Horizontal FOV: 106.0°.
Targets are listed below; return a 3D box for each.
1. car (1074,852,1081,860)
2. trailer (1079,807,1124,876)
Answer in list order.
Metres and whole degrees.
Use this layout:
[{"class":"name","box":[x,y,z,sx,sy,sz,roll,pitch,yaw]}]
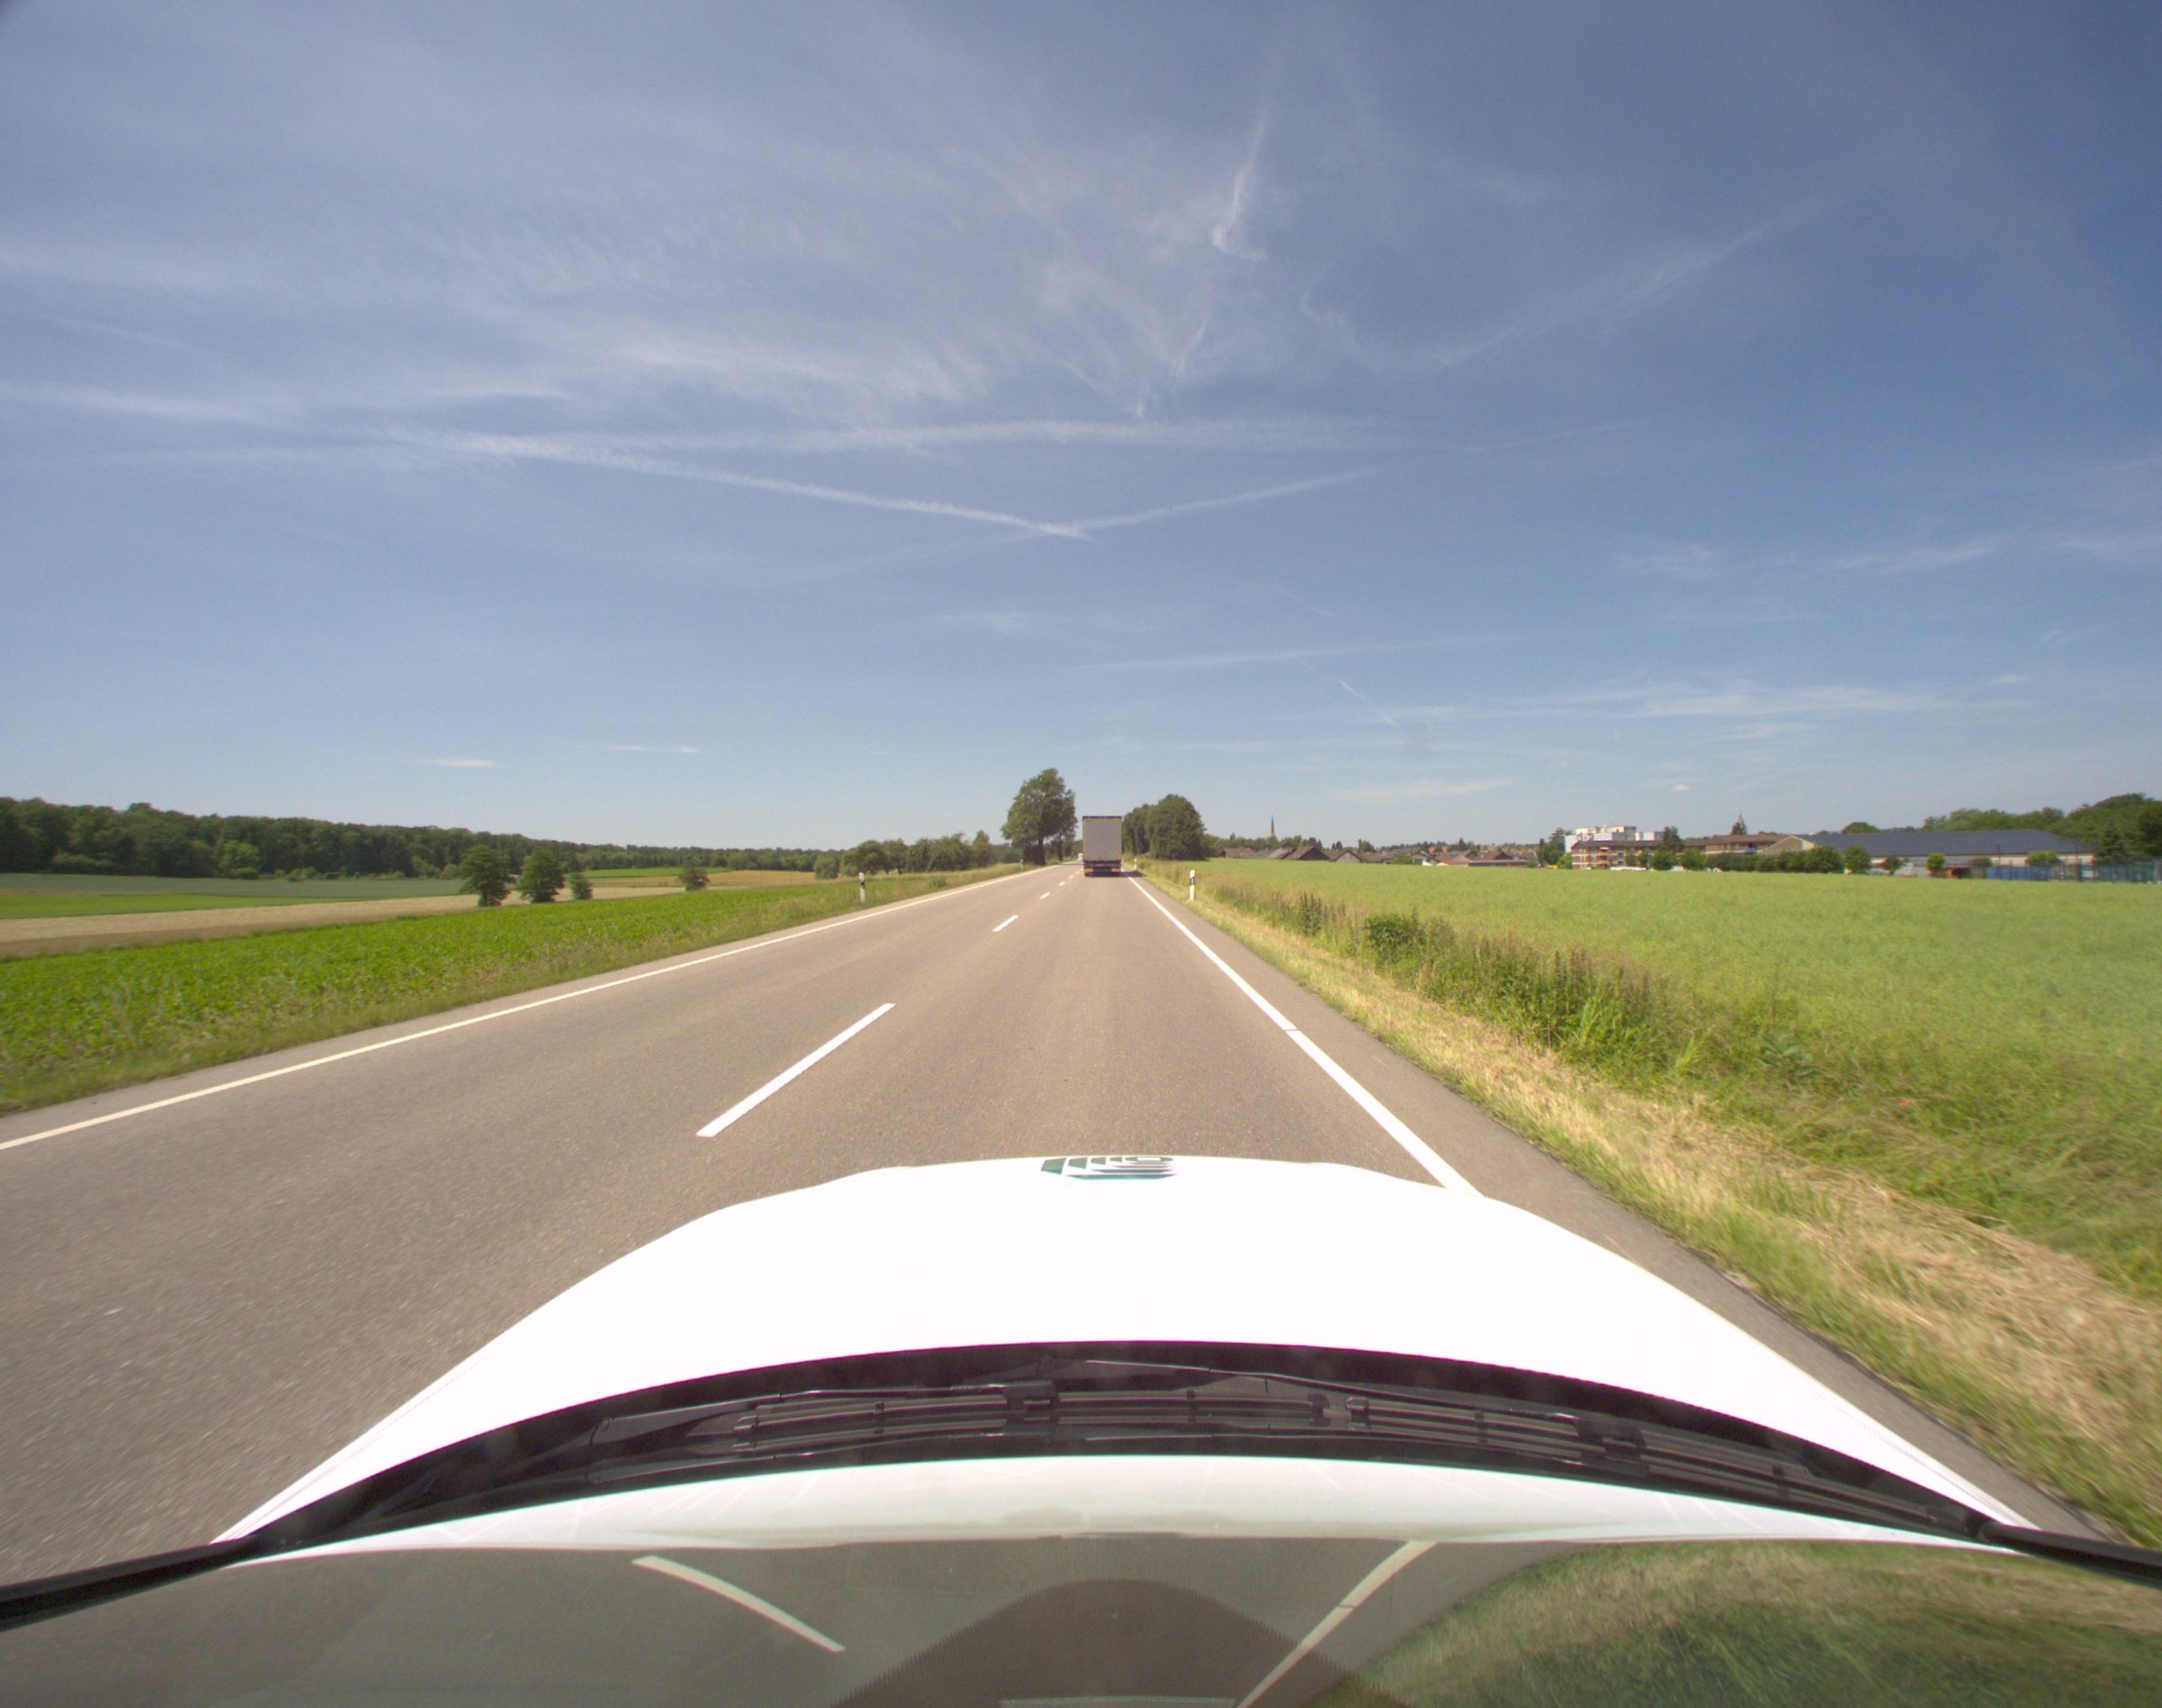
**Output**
[{"class":"car","box":[-0.985,0.615,225.476,1.867,2.013,4.074,-2,0,0]},{"class":"trailer","box":[1.453,-0.797,59.256,2.857,4.400,13.495,-1,0,1]}]
